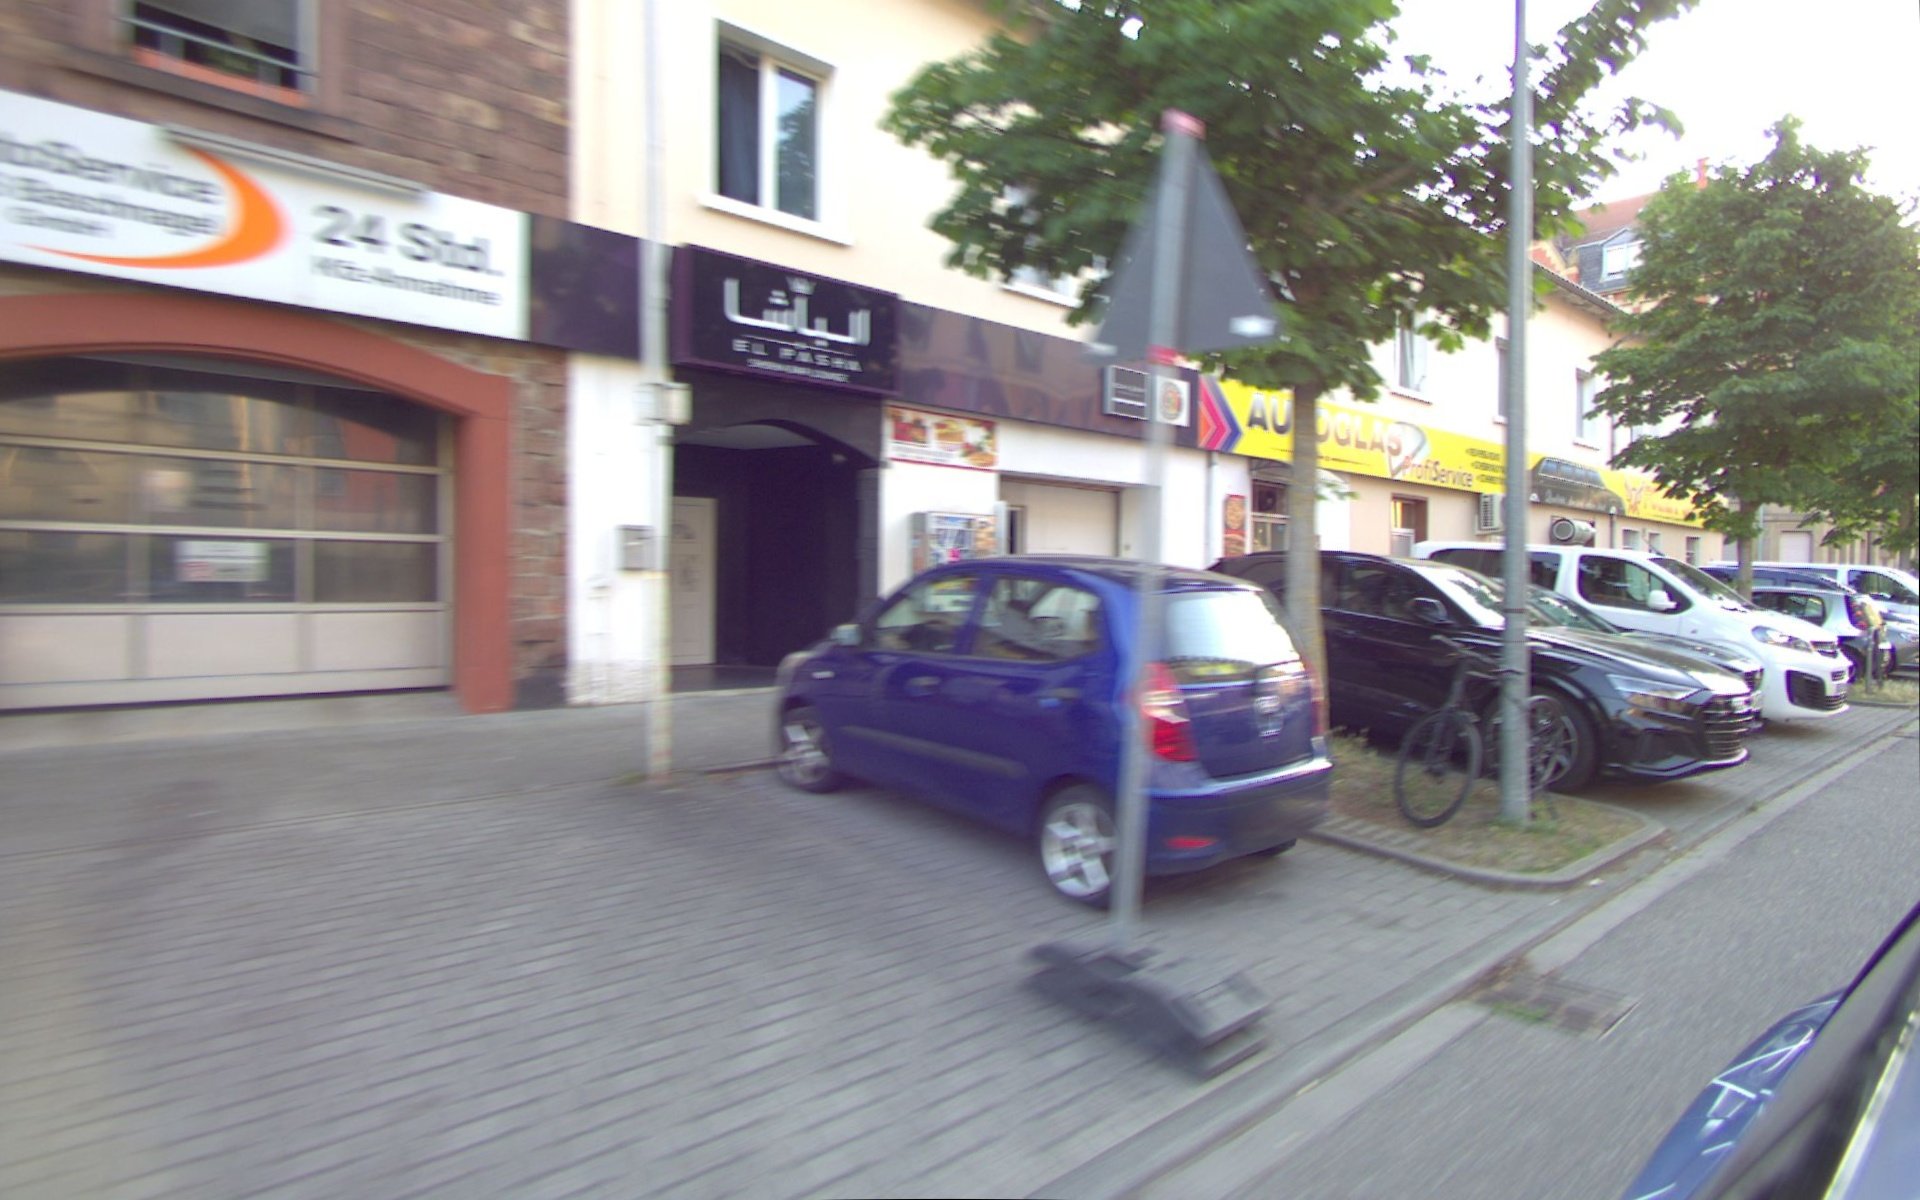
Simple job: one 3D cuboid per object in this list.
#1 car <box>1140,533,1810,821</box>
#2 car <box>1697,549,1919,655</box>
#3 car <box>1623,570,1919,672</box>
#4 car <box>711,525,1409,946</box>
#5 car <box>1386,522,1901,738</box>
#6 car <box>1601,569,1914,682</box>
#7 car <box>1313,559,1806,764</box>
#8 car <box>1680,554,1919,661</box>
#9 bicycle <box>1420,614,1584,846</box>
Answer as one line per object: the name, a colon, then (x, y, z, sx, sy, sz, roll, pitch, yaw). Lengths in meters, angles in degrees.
car: (4.039, 0.359, 8.752, 1.964, 1.651, 4.709, 0, 5, -39)
car: (19.267, -0.008, 21.886, 2.111, 2.127, 4.976, -2, 2, -36)
car: (15.103, 0.302, 18.389, 1.965, 1.514, 4.732, -1, 4, -40)
car: (0.269, 0.414, 6.081, 1.813, 1.564, 3.997, -1, 5, -40)
car: (7.826, 0.143, 12.059, 1.976, 1.883, 4.602, -1, 6, -38)
car: (13.083, 0.317, 16.782, 1.652, 1.514, 3.793, -1, 4, -41)
car: (6.049, 0.445, 10.629, 1.858, 1.513, 4.000, -1, 5, -39)
car: (17.304, 0.081, 20.226, 1.963, 1.881, 4.306, 0, 3, -37)
bicycle: (3.335, 0.711, 6.157, 1.732, 1.207, 0.308, -1, 1, -42)
